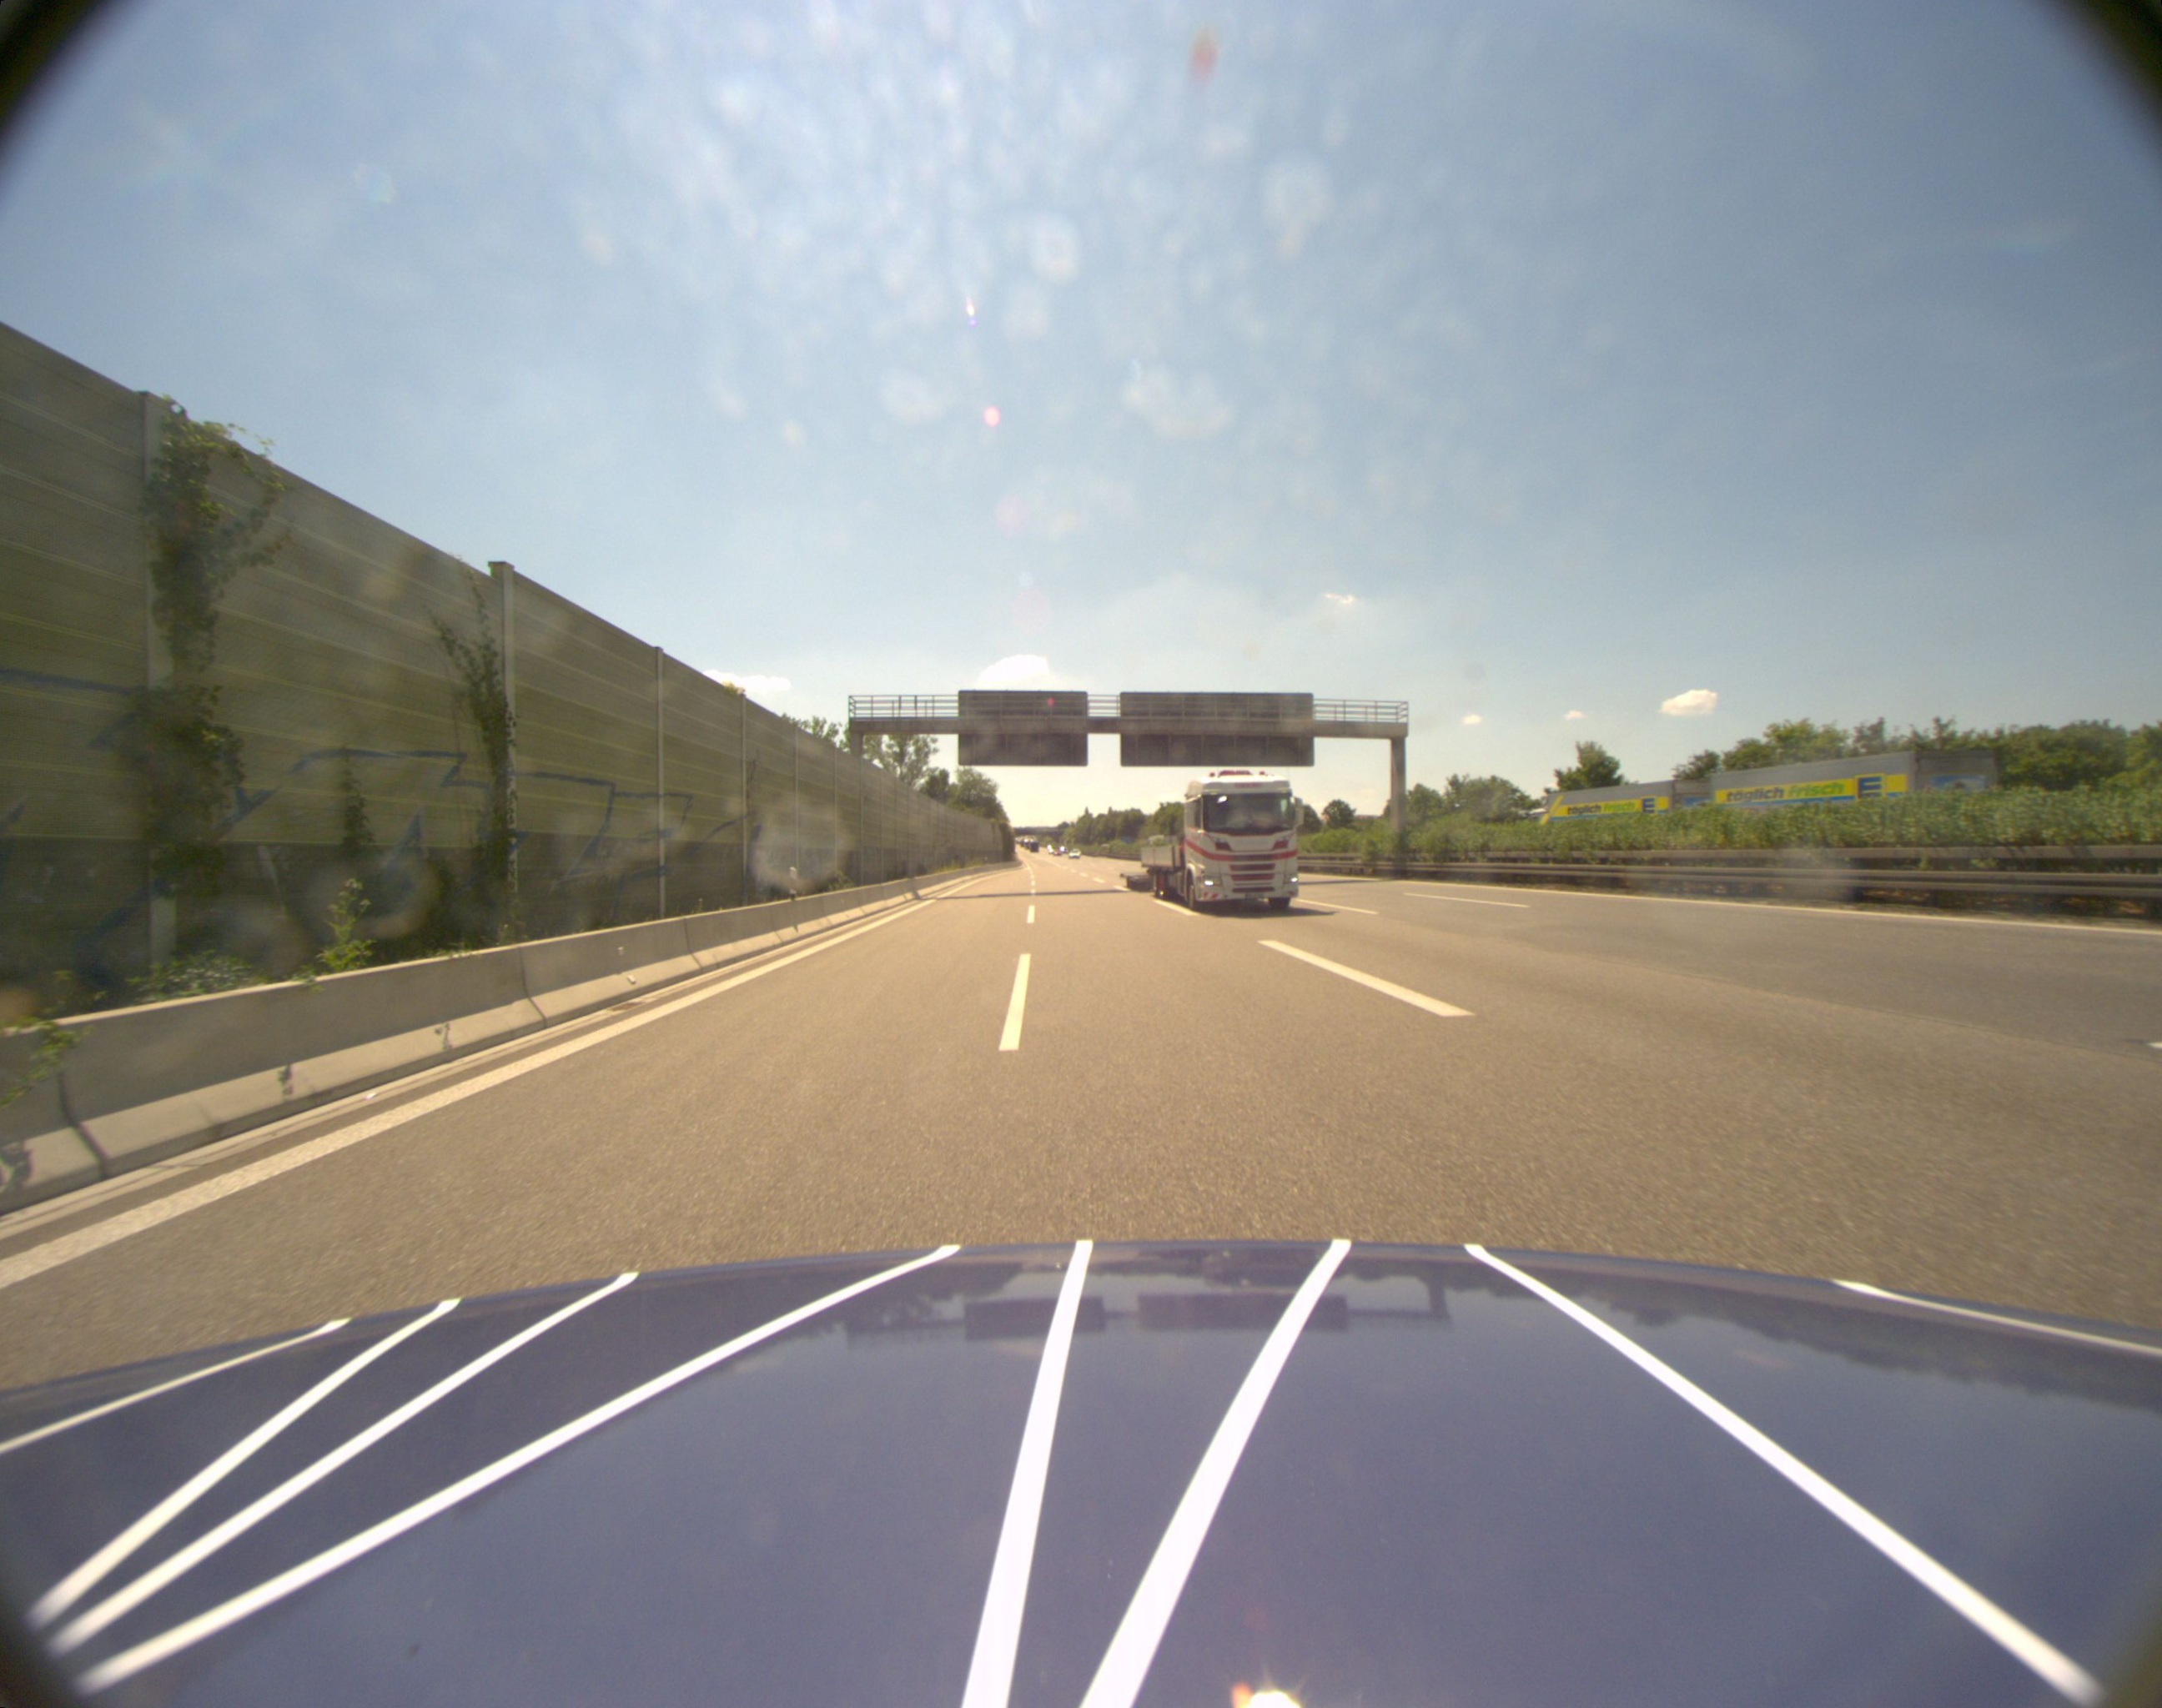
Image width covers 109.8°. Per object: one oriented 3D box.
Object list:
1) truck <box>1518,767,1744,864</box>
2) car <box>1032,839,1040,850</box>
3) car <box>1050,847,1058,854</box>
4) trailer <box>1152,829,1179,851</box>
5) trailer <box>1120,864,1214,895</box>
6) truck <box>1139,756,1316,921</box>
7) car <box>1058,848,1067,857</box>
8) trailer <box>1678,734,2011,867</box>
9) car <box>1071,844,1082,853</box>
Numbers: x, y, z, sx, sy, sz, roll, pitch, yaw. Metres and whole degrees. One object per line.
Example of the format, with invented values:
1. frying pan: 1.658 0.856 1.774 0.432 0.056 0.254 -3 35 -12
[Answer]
1. truck: 26.041 -1.626 37.002 3.010 3.944 10.317 -2 0 -3
2. car: -14.031 -2.999 238.857 2.116 3.283 6.442 -2 0 -6
3. car: -7.163 -0.922 202.492 1.999 1.832 4.000 -2 0 0
4. trailer: 16.538 -2.641 149.279 2.613 4.110 14.221 -1 1 -4
5. trailer: 3.422 0.995 32.360 2.722 0.929 7.756 -2 0 -3
6. truck: 3.849 -0.408 23.164 2.722 3.780 10.667 -2 1 -3
7. car: -4.361 -0.352 178.789 1.999 1.832 4.000 -2 0 0
8. trailer: 26.658 -1.646 27.445 2.931 3.944 8.655 -2 0 -4
9. car: -0.849 -1.006 138.189 1.787 1.494 4.169 -1 0 -3
